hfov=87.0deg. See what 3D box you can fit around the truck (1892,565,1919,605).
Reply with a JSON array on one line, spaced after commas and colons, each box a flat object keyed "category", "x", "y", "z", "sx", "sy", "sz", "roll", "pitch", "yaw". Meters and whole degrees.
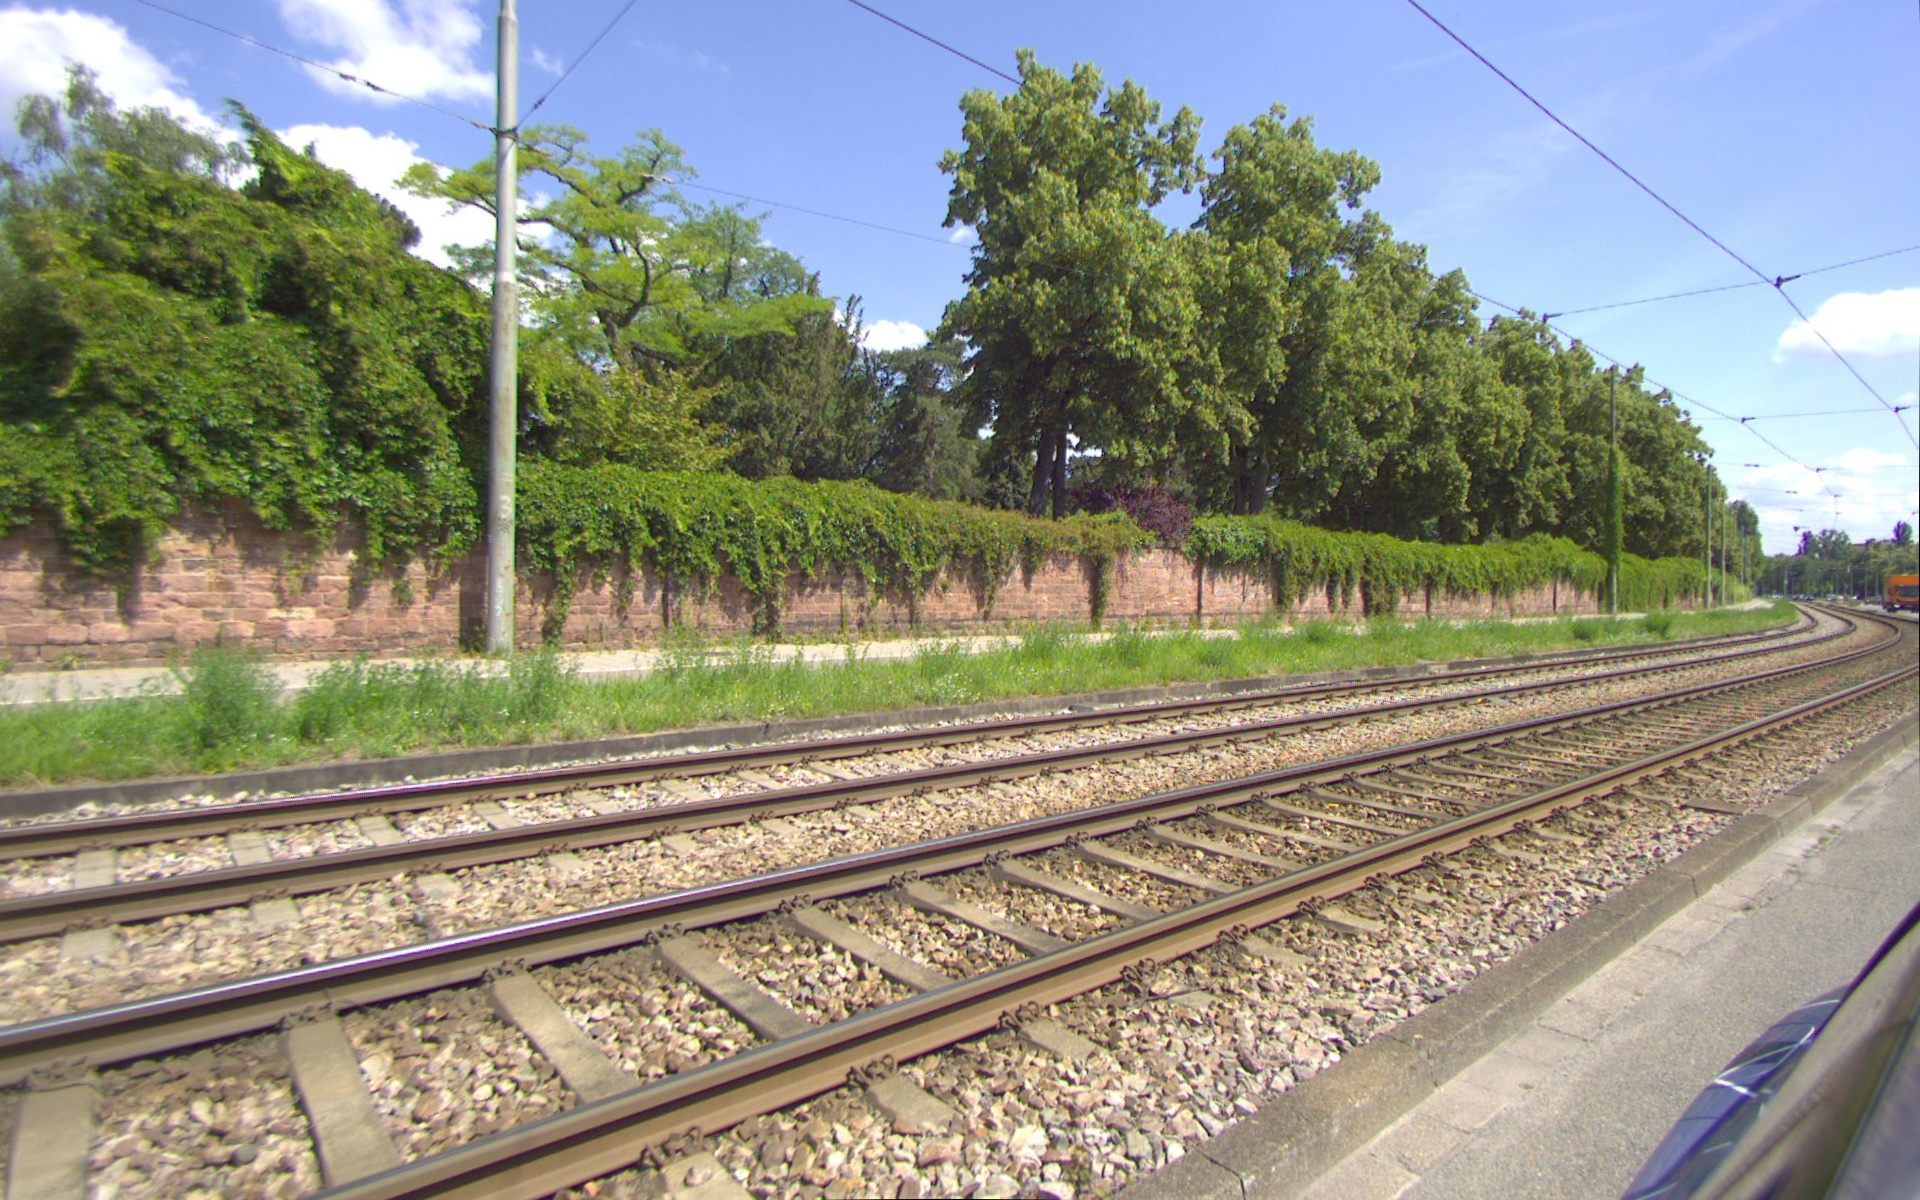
[{"category": "truck", "x": 89.798, "y": -1.424, "z": 95.255, "sx": 2.836, "sy": 3.640, "sz": 8.576, "roll": 1, "pitch": 1, "yaw": 41}]
